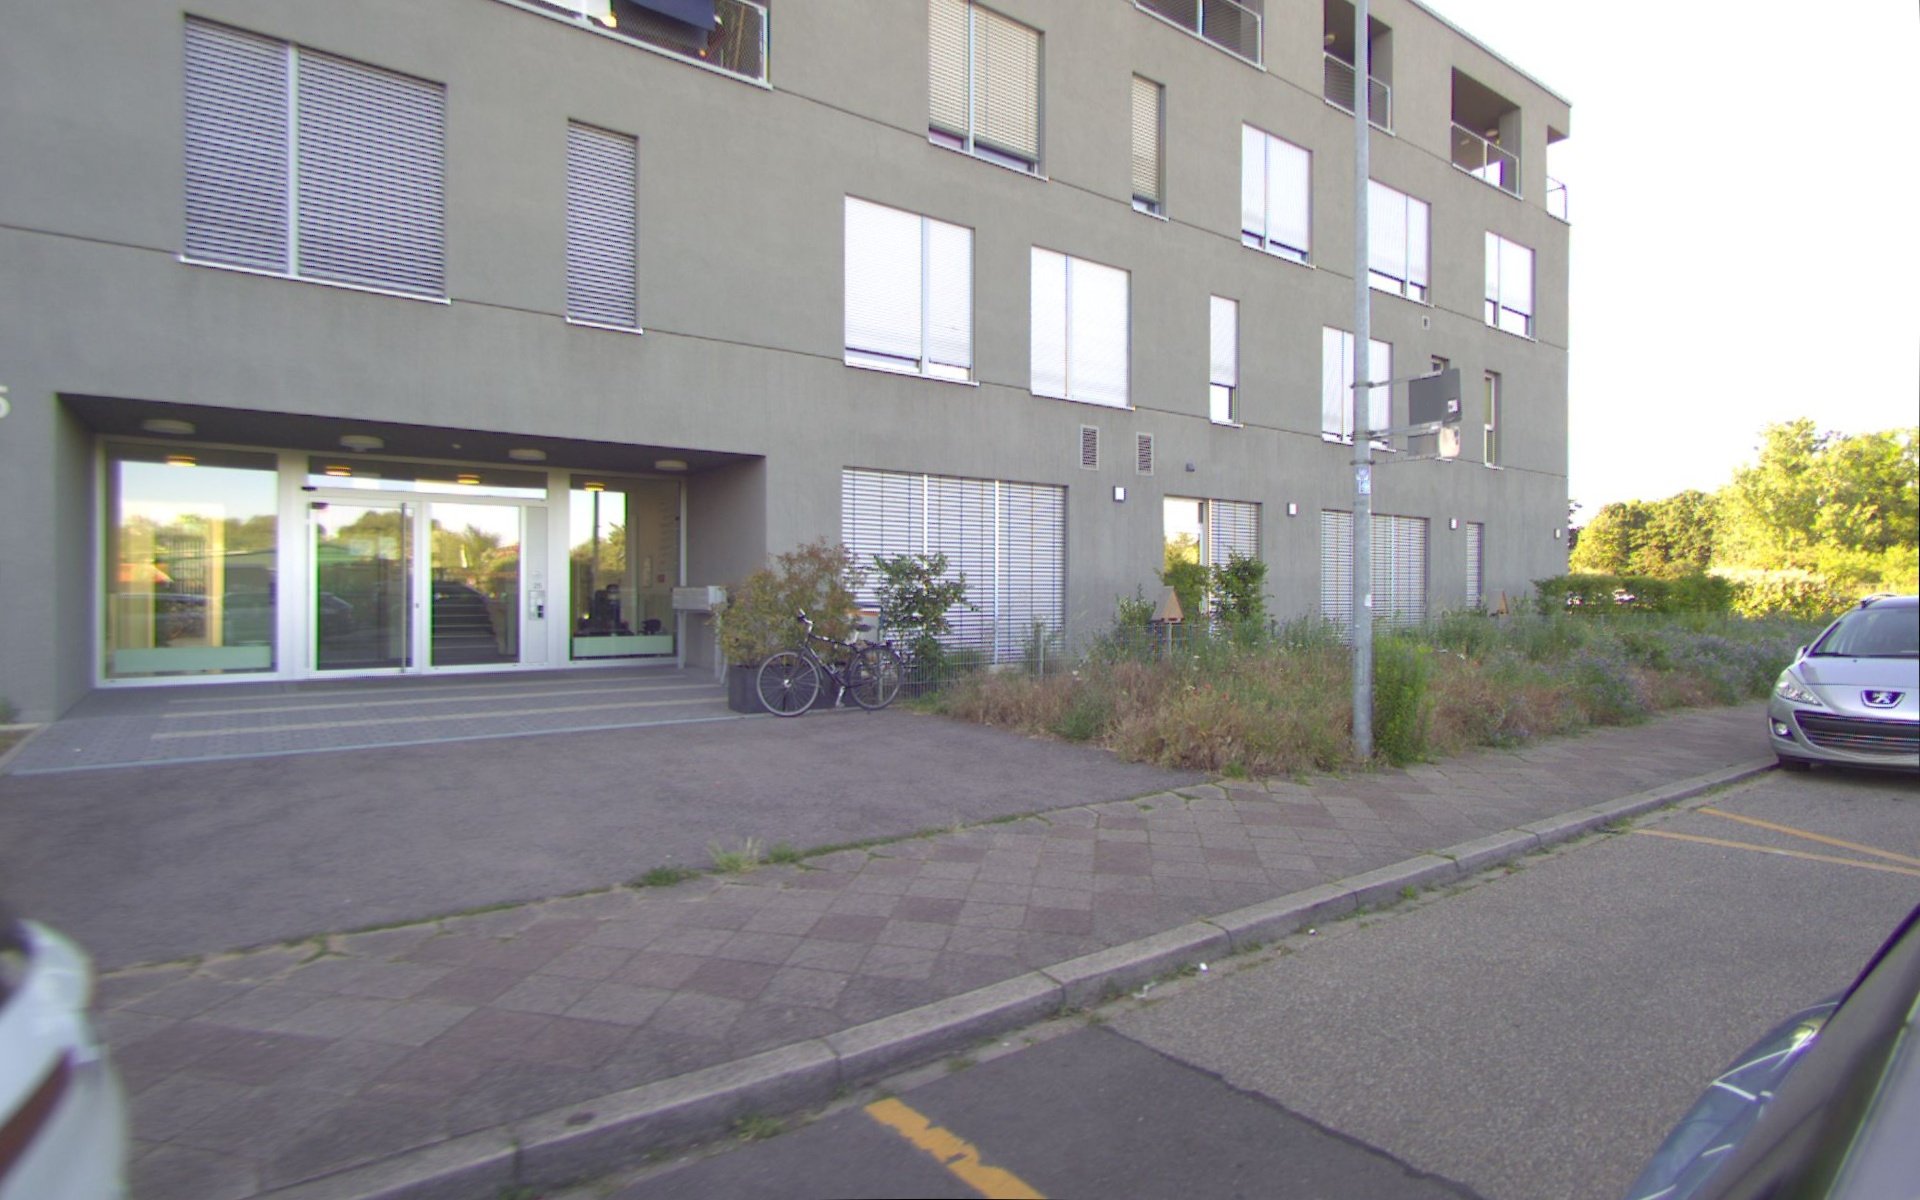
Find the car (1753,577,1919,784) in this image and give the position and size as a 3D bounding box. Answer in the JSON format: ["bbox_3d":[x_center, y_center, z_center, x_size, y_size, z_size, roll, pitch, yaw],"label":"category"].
[{"bbox_3d":[8.752,0.586,8.881,4.076,1.546,1.712,-1,0,-35],"label":"car"}]

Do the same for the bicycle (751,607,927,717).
[{"bbox_3d":[-1.275,0.623,10.853,1.806,1.075,0.554,0,0,-32],"label":"bicycle"}]
